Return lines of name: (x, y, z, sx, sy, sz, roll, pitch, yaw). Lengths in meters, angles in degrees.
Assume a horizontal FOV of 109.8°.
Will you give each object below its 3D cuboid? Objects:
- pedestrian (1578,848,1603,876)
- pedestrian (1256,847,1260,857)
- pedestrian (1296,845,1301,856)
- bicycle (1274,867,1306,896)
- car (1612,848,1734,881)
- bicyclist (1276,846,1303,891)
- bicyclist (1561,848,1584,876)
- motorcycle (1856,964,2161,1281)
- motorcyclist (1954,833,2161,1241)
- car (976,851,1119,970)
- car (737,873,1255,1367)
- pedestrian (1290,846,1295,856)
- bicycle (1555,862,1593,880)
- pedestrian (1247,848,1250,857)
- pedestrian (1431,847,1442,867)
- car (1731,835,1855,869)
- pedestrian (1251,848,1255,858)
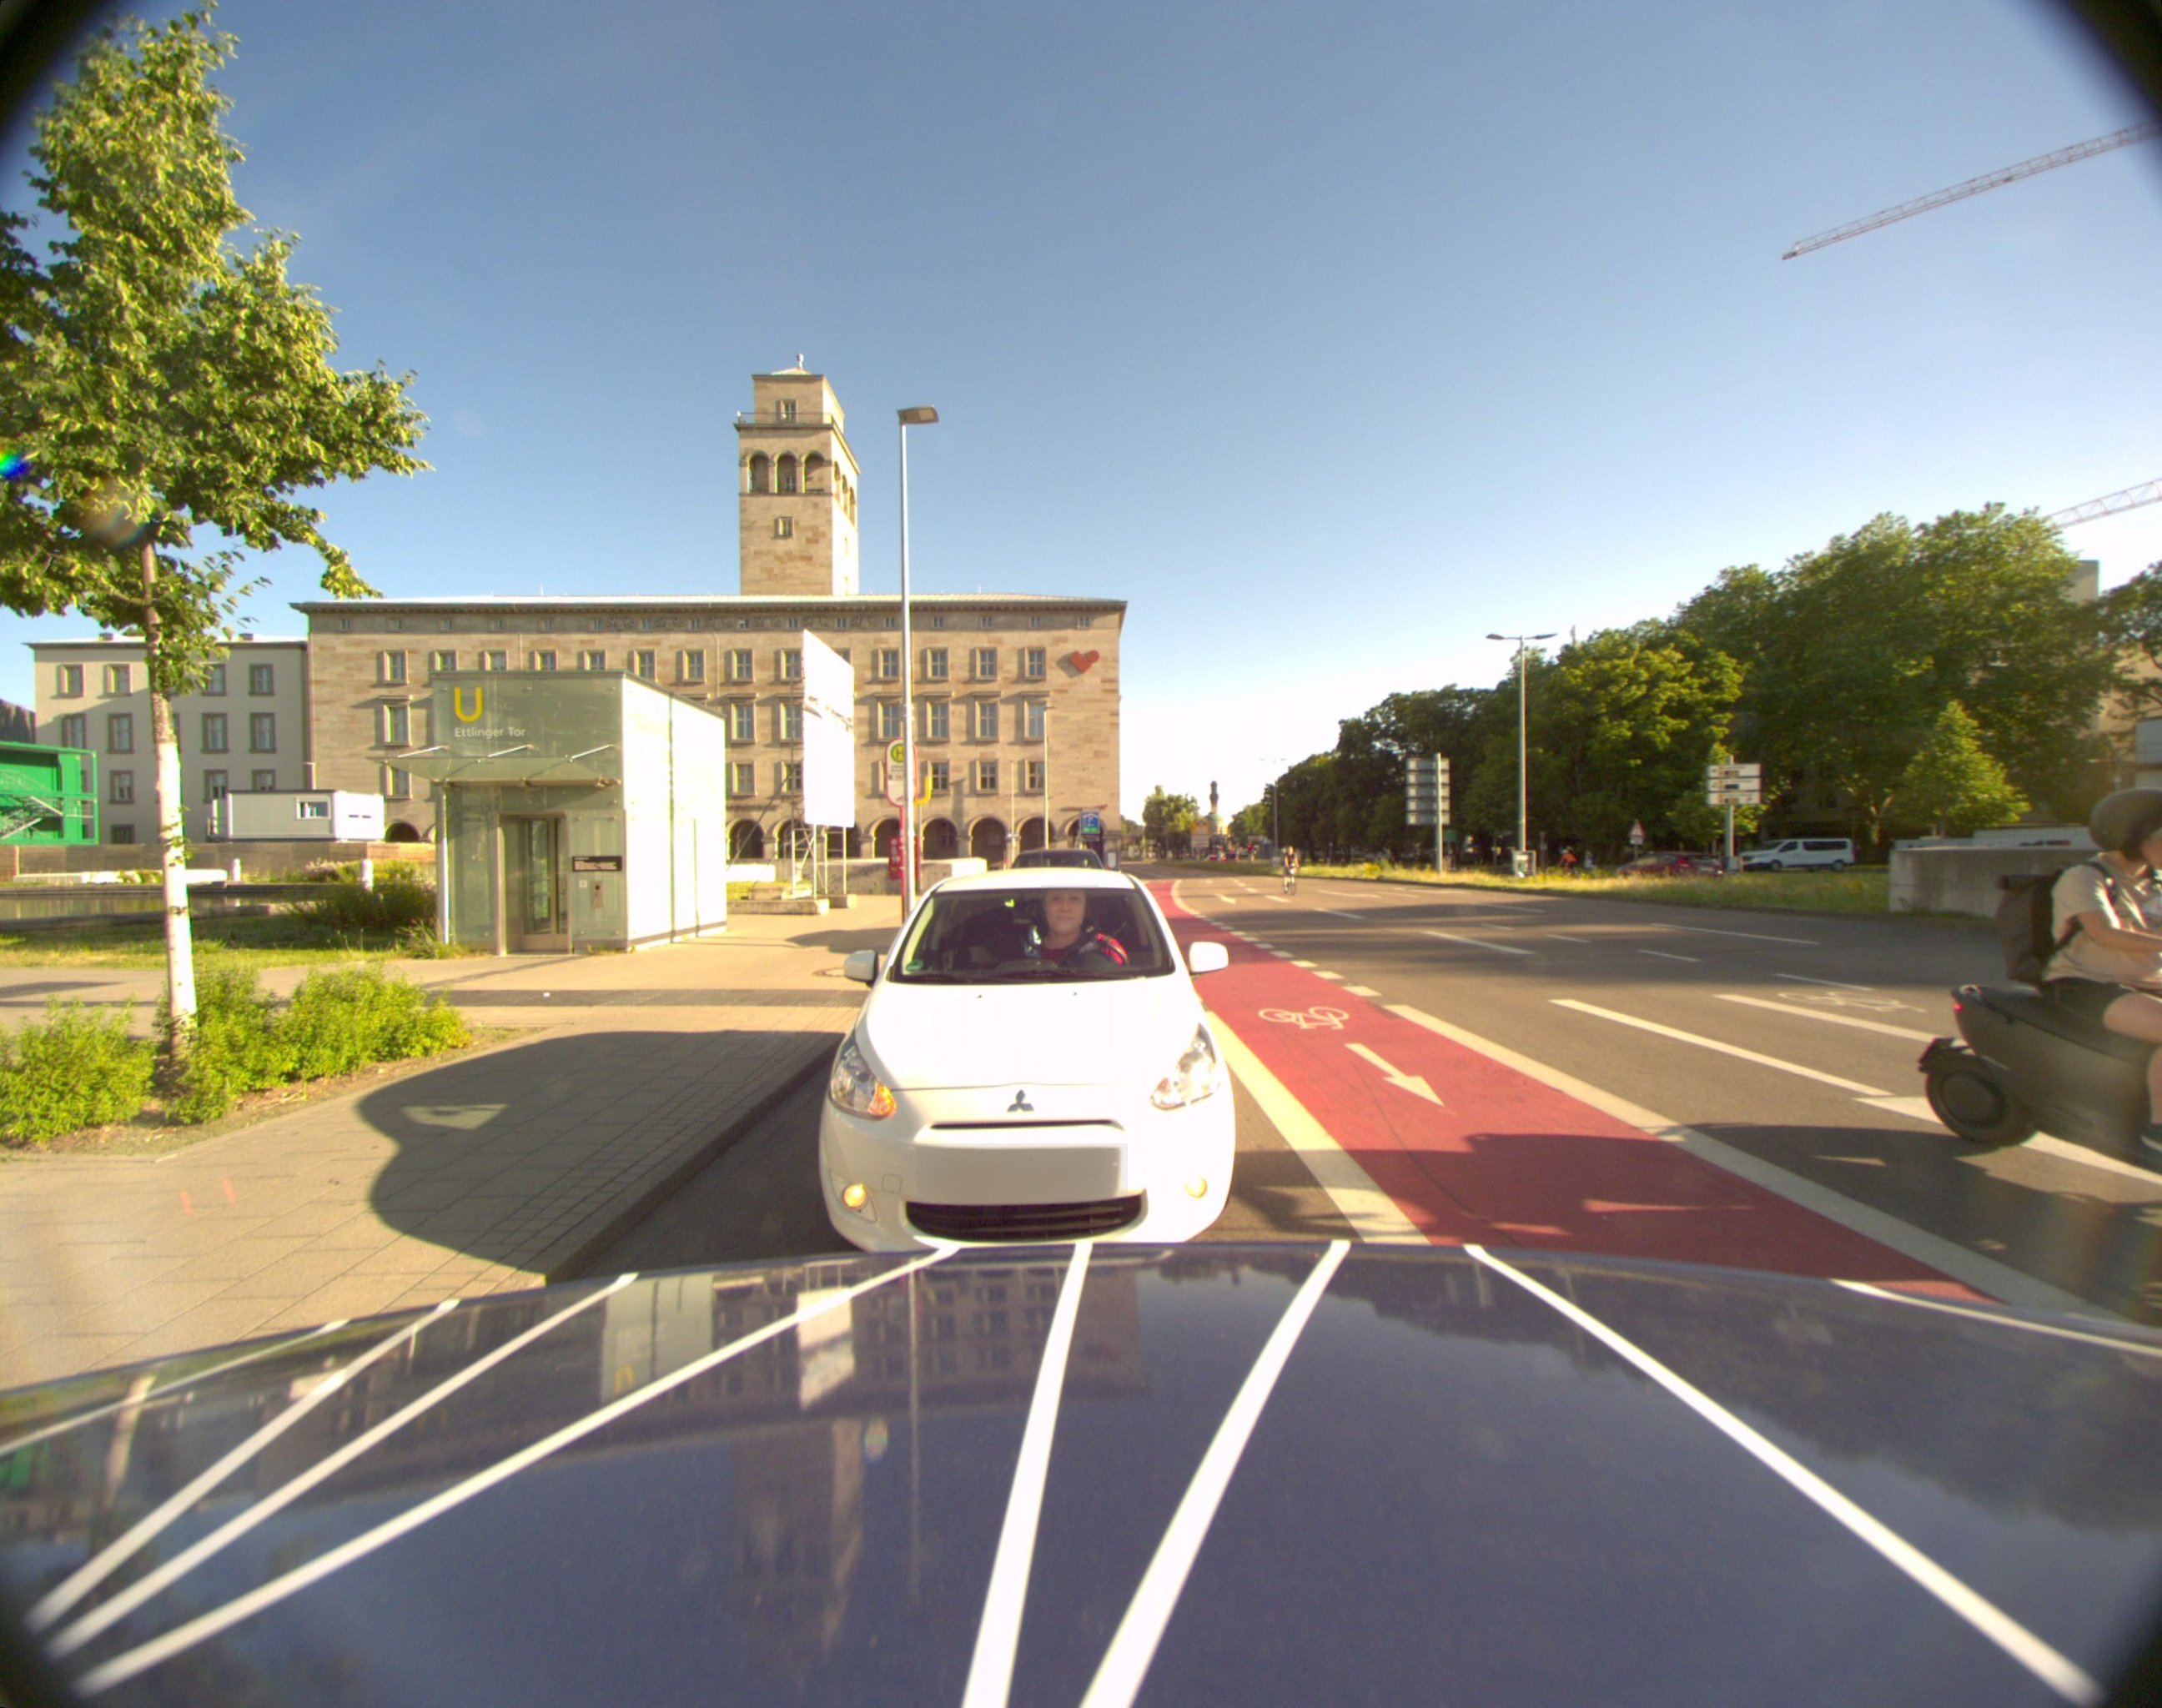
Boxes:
pedestrian: (33.217, 0.521, 49.547, 0.997, 1.773, 0.964, -2, 1, 1)
pedestrian: (35.534, -0.324, 152.693, 0.525, 2.002, 0.594, -1, 1, -2)
pedestrian: (41.860, -0.640, 146.363, 0.697, 2.002, 0.695, -1, 1, -16)
bicycle: (7.128, 0.916, 25.996, 0.624, 0.903, 1.910, -2, 0, 2)
car: (22.135, 0.360, 28.593, 1.618, 1.126, 3.770, -2, 0, -1)
bicyclist: (7.099, 0.473, 25.890, 0.624, 1.494, 0.938, -2, 1, 2)
bicyclist: (24.429, 0.402, 37.779, 0.617, 1.359, 0.768, -1, 1, 1)
motorcycle: (4.304, 1.058, 2.919, 0.756, 0.963, 1.960, -1, 0, 5)
motorcyclist: (4.305, 0.657, 2.974, 0.756, 1.475, 0.882, -1, 1, 5)
car: (-0.493, 0.784, 13.136, 1.999, 1.652, 4.791, -1, 0, 0)
car: (-0.256, 0.941, 4.513, 1.660, 1.463, 3.969, -3, 0, 1)
pedestrian: (40.841, -0.601, 146.523, 0.697, 2.002, 0.695, -1, 1, -16)
bicycle: (24.434, 0.833, 37.711, 0.617, 0.800, 1.980, -1, 0, 1)
pedestrian: (34.561, -0.332, 156.904, 0.525, 2.002, 0.594, -1, 1, -2)
pedestrian: (31.864, 0.252, 68.116, 0.664, 1.716, 0.698, -1, 1, 0)
car: (42.140, -0.120, 45.048, 5.325, 1.880, 2.000, -1, 0, 2)
pedestrian: (34.578, -0.286, 152.606, 0.525, 2.002, 0.594, -1, 1, -2)
